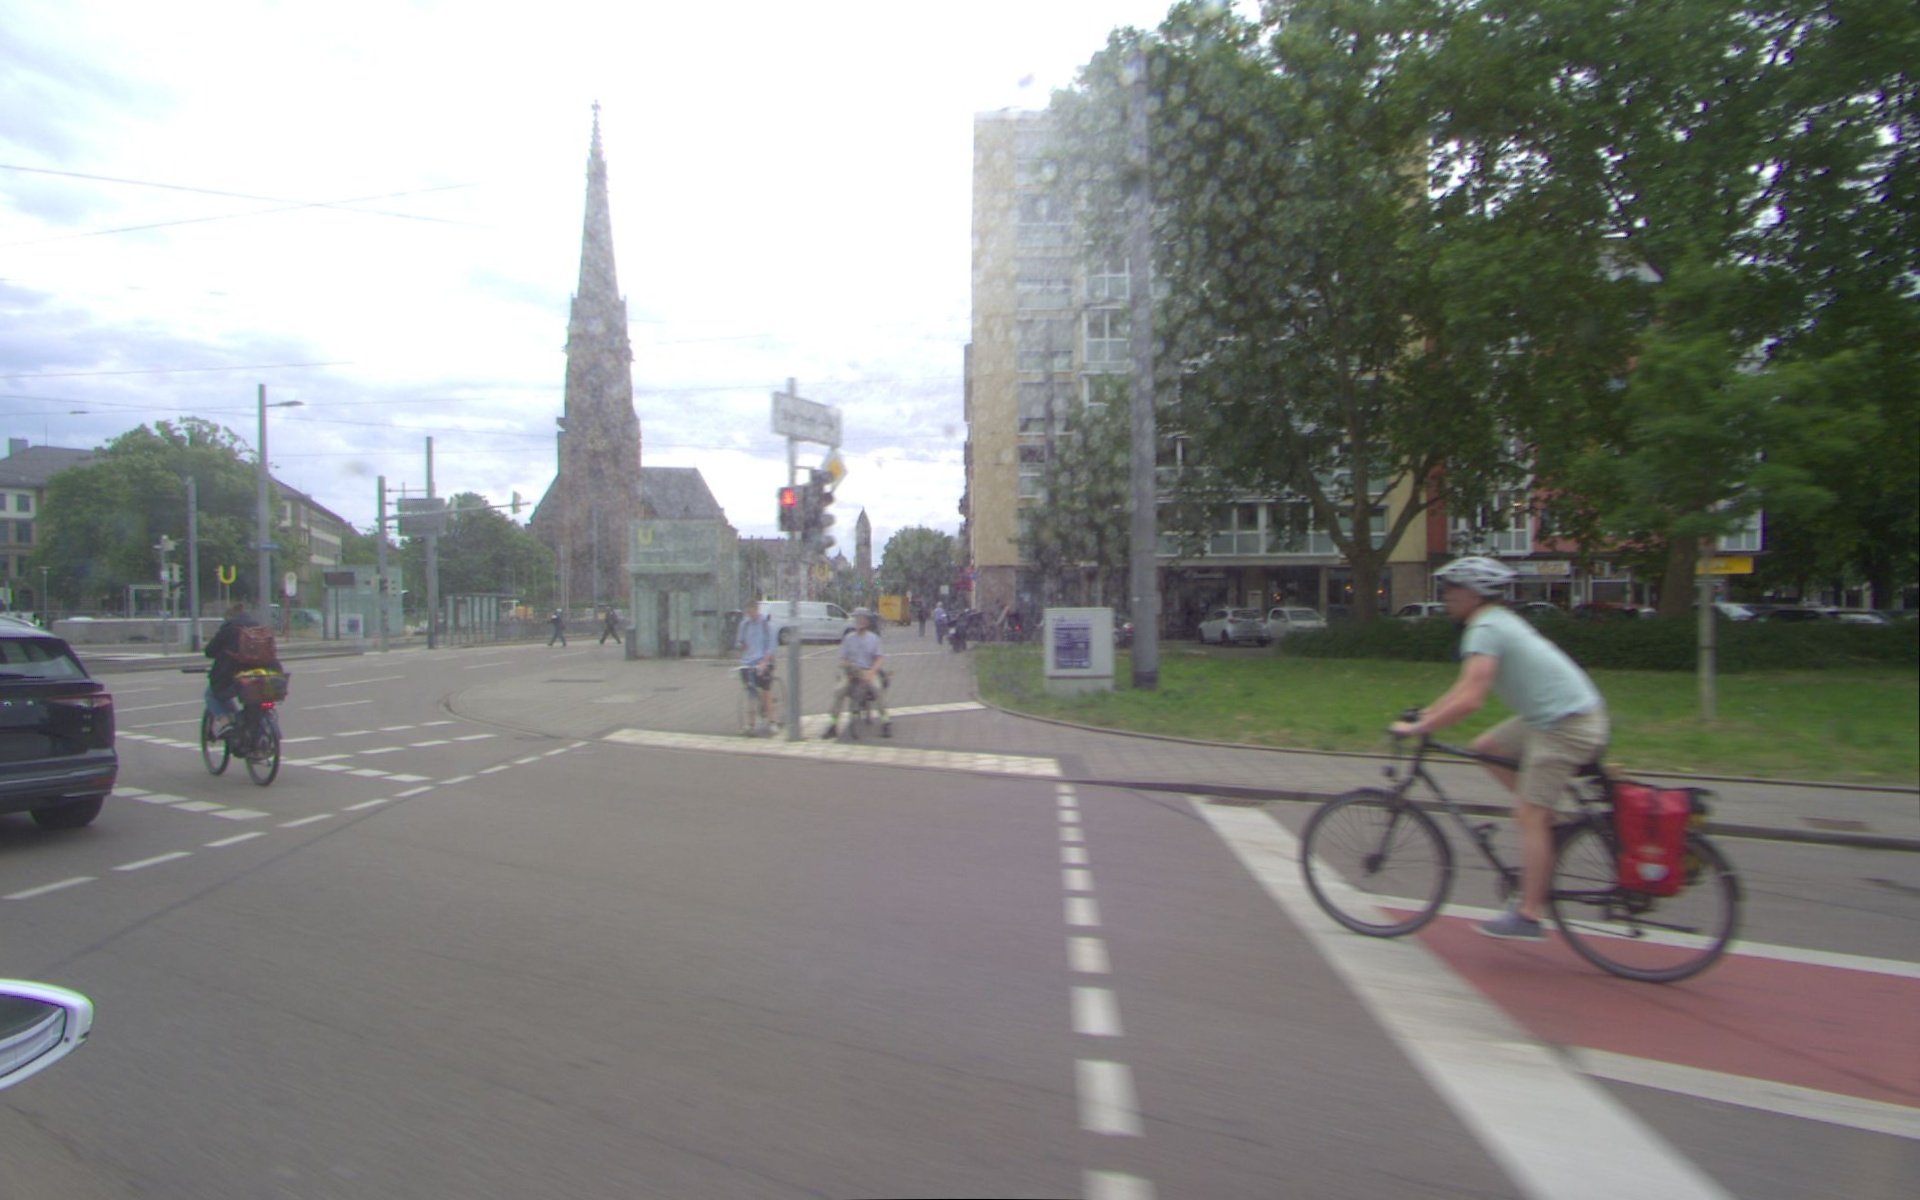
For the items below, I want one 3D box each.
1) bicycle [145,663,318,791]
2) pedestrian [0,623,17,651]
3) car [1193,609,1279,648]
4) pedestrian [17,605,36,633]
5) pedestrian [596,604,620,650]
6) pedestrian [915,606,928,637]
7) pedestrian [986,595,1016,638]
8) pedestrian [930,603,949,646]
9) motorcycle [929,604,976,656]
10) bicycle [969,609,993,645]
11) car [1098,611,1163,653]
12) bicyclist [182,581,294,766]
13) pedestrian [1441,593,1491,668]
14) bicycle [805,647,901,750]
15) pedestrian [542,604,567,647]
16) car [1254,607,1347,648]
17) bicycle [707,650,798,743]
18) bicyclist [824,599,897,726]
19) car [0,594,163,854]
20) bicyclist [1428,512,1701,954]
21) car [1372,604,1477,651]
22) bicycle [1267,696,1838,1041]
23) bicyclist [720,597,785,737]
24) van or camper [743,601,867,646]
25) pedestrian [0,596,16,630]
[{"bbox_3d":[-7.211,1.201,9.874,2.095,1.069,0.624,0,1,32],"label":"bicycle"},{"bbox_3d":[-63.815,2.463,67.088,0.817,1.832,1.012,-3,1,-41],"label":"pedestrian"},{"bbox_3d":[10.879,1.094,39.718,1.961,1.483,3.999,0,0,-6],"label":"car"},{"bbox_3d":[-62.474,1.263,67.028,0.817,1.878,1.012,-1,1,-41],"label":"pedestrian"},{"bbox_3d":[-14.948,1.138,42.537,0.889,1.937,0.782,-1,1,-22],"label":"pedestrian"},{"bbox_3d":[-2.203,1.231,56.843,0.606,1.738,0.823,-1,1,-10],"label":"pedestrian"},{"bbox_3d":[1.734,0.681,42.609,1.031,1.781,0.786,-1,1,-21],"label":"pedestrian"},{"bbox_3d":[-0.839,0.997,41.062,0.797,1.760,0.906,0,1,-1],"label":"pedestrian"},{"bbox_3d":[-0.265,0.890,30.973,1.027,1.384,2.291,-7,2,-7],"label":"motorcycle"},{"bbox_3d":[0.863,1.082,40.674,0.886,1.395,2.783,0,0,3],"label":"bicycle"},{"bbox_3d":[6.553,1.192,38.824,1.806,1.462,4.165,-1,1,0],"label":"car"},{"bbox_3d":[-7.015,0.680,9.736,0.794,1.713,0.614,1,1,31],"label":"bicyclist"},{"bbox_3d":[12.695,0.758,25.126,0.881,1.843,0.866,0,1,9],"label":"pedestrian"},{"bbox_3d":[-1.319,1.207,12.744,0.591,1.012,1.942,0,3,13],"label":"bicycle"},{"bbox_3d":[-15.985,1.000,39.450,0.889,1.665,0.782,-1,1,-22],"label":"pedestrian"},{"bbox_3d":[13.519,1.058,39.993,1.962,1.461,3.997,-1,1,-8],"label":"car"},{"bbox_3d":[-2.736,1.249,13.423,0.568,1.012,1.991,-2,1,7],"label":"bicycle"},{"bbox_3d":[-1.266,0.780,12.927,0.659,1.543,0.885,0,3,13],"label":"bicyclist"},{"bbox_3d":[-8.180,0.818,7.472,4.445,1.680,1.901,0,0,28],"label":"car"},{"bbox_3d":[2.555,0.508,4.299,0.919,1.639,0.788,0,-1,31],"label":"bicyclist"},{"bbox_3d":[18.344,1.053,39.755,1.962,1.746,3.998,0,0,-8],"label":"car"},{"bbox_3d":[2.440,1.027,4.377,1.987,1.093,0.760,0,-1,31],"label":"bicycle"},{"bbox_3d":[-2.746,0.871,13.316,0.575,1.775,0.734,-2,2,7],"label":"bicyclist"},{"bbox_3d":[-7.242,1.069,47.066,5.402,2.004,2.155,0,0,-38],"label":"van or camper"},{"bbox_3d":[-119.647,1.617,125.798,1.328,4.310,1.303,0,1,35],"label":"pedestrian"}]
